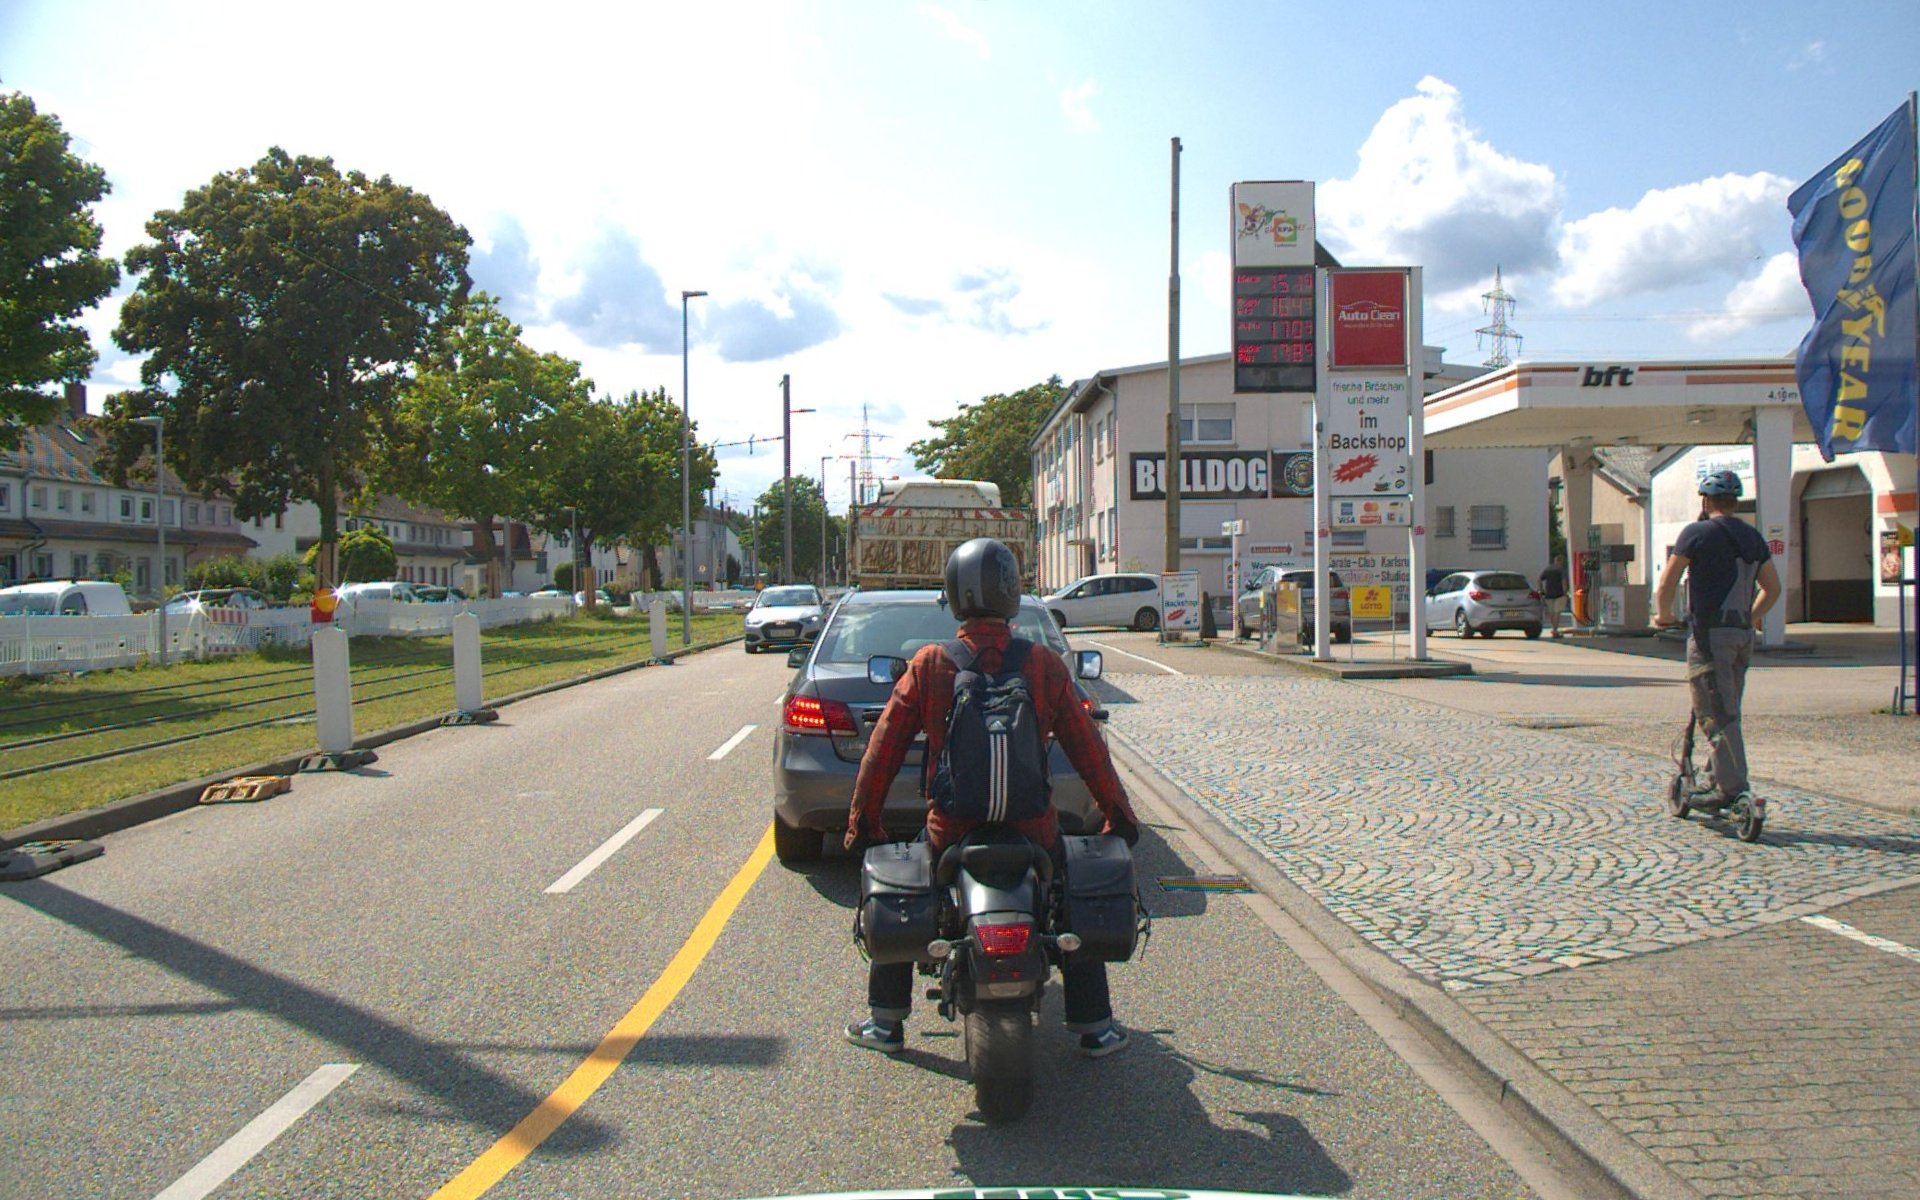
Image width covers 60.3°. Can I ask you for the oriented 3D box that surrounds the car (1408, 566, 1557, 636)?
[{"bbox_3d":[11.792,0.022,37.589,1.920,1.445,3.998,-2,0,-3],"label":"car"}]

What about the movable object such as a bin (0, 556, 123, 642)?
[{"bbox_3d":[-27.815,-0.032,49.995,4.277,2.492,1.776,-1,1,-23],"label":"movable object such as a bin"}]

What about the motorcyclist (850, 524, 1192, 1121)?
[{"bbox_3d":[0.161,0.618,5.198,0.920,1.643,1.204,1,0,-1],"label":"motorcyclist"}]

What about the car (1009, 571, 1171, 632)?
[{"bbox_3d":[3.692,0.034,47.386,4.250,1.579,1.946,-2,0,-9],"label":"car"}]

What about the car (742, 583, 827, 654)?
[{"bbox_3d":[-3.954,0.369,37.766,1.622,1.472,4.301,-2,1,-3],"label":"car"}]

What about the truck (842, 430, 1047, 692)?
[{"bbox_3d":[-0.219,-0.516,26.033,2.557,3.313,9.181,-2,0,0],"label":"truck"}]

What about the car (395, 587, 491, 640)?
[{"bbox_3d":[-17.115,0.430,54.976,1.953,1.634,3.999,-2,0,-1],"label":"car"}]

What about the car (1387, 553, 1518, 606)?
[{"bbox_3d":[17.023,-0.695,57.340,3.906,1.677,1.965,-2,0,-2],"label":"car"}]

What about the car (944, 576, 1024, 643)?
[{"bbox_3d":[0.520,0.186,39.056,1.784,1.489,4.000,0,1,0],"label":"car"}]

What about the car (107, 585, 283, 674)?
[{"bbox_3d":[-16.526,0.605,35.965,1.953,1.780,3.999,-2,0,-1],"label":"car"}]

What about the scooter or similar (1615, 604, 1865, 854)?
[{"bbox_3d":[4.215,0.644,9.064,0.529,1.216,1.610,-3,0,-1],"label":"scooter or similar"}]

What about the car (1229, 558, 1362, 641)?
[{"bbox_3d":[7.382,-0.005,36.786,1.920,1.677,3.998,-2,0,-3],"label":"car"}]

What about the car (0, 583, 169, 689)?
[{"bbox_3d":[-16.545,0.635,30.526,1.953,1.780,3.999,-2,0,-1],"label":"car"}]

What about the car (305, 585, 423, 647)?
[{"bbox_3d":[-16.987,0.429,47.333,1.953,1.634,3.999,-2,0,-1],"label":"car"}]

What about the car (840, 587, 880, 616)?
[{"bbox_3d":[-5.110,0.080,85.032,1.809,1.411,4.343,-2,0,-1],"label":"car"}]

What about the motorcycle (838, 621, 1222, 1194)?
[{"bbox_3d":[0.153,0.772,5.379,0.920,1.343,2.644,1,0,-1],"label":"motorcycle"}]

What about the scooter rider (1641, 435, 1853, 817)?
[{"bbox_3d":[4.359,0.136,9.208,0.702,1.997,0.785,-3,0,-1],"label":"scooter rider"}]

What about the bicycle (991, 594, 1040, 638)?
[{"bbox_3d":[1.885,0.528,55.731,0.679,1.385,2.416,-1,1,26],"label":"bicycle"}]

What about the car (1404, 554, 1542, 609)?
[{"bbox_3d":[16.944,-0.604,54.791,3.906,1.677,1.965,-2,0,-2],"label":"car"}]

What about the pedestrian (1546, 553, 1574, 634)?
[{"bbox_3d":[13.025,-0.141,35.894,0.388,1.718,0.485,-2,0,0],"label":"pedestrian"}]

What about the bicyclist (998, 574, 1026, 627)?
[{"bbox_3d":[1.749,0.018,55.651,0.658,1.774,0.813,-1,0,26],"label":"bicyclist"}]

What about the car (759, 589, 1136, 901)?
[{"bbox_3d":[-0.087,0.674,9.849,1.784,1.449,3.999,0,1,-1],"label":"car"}]
